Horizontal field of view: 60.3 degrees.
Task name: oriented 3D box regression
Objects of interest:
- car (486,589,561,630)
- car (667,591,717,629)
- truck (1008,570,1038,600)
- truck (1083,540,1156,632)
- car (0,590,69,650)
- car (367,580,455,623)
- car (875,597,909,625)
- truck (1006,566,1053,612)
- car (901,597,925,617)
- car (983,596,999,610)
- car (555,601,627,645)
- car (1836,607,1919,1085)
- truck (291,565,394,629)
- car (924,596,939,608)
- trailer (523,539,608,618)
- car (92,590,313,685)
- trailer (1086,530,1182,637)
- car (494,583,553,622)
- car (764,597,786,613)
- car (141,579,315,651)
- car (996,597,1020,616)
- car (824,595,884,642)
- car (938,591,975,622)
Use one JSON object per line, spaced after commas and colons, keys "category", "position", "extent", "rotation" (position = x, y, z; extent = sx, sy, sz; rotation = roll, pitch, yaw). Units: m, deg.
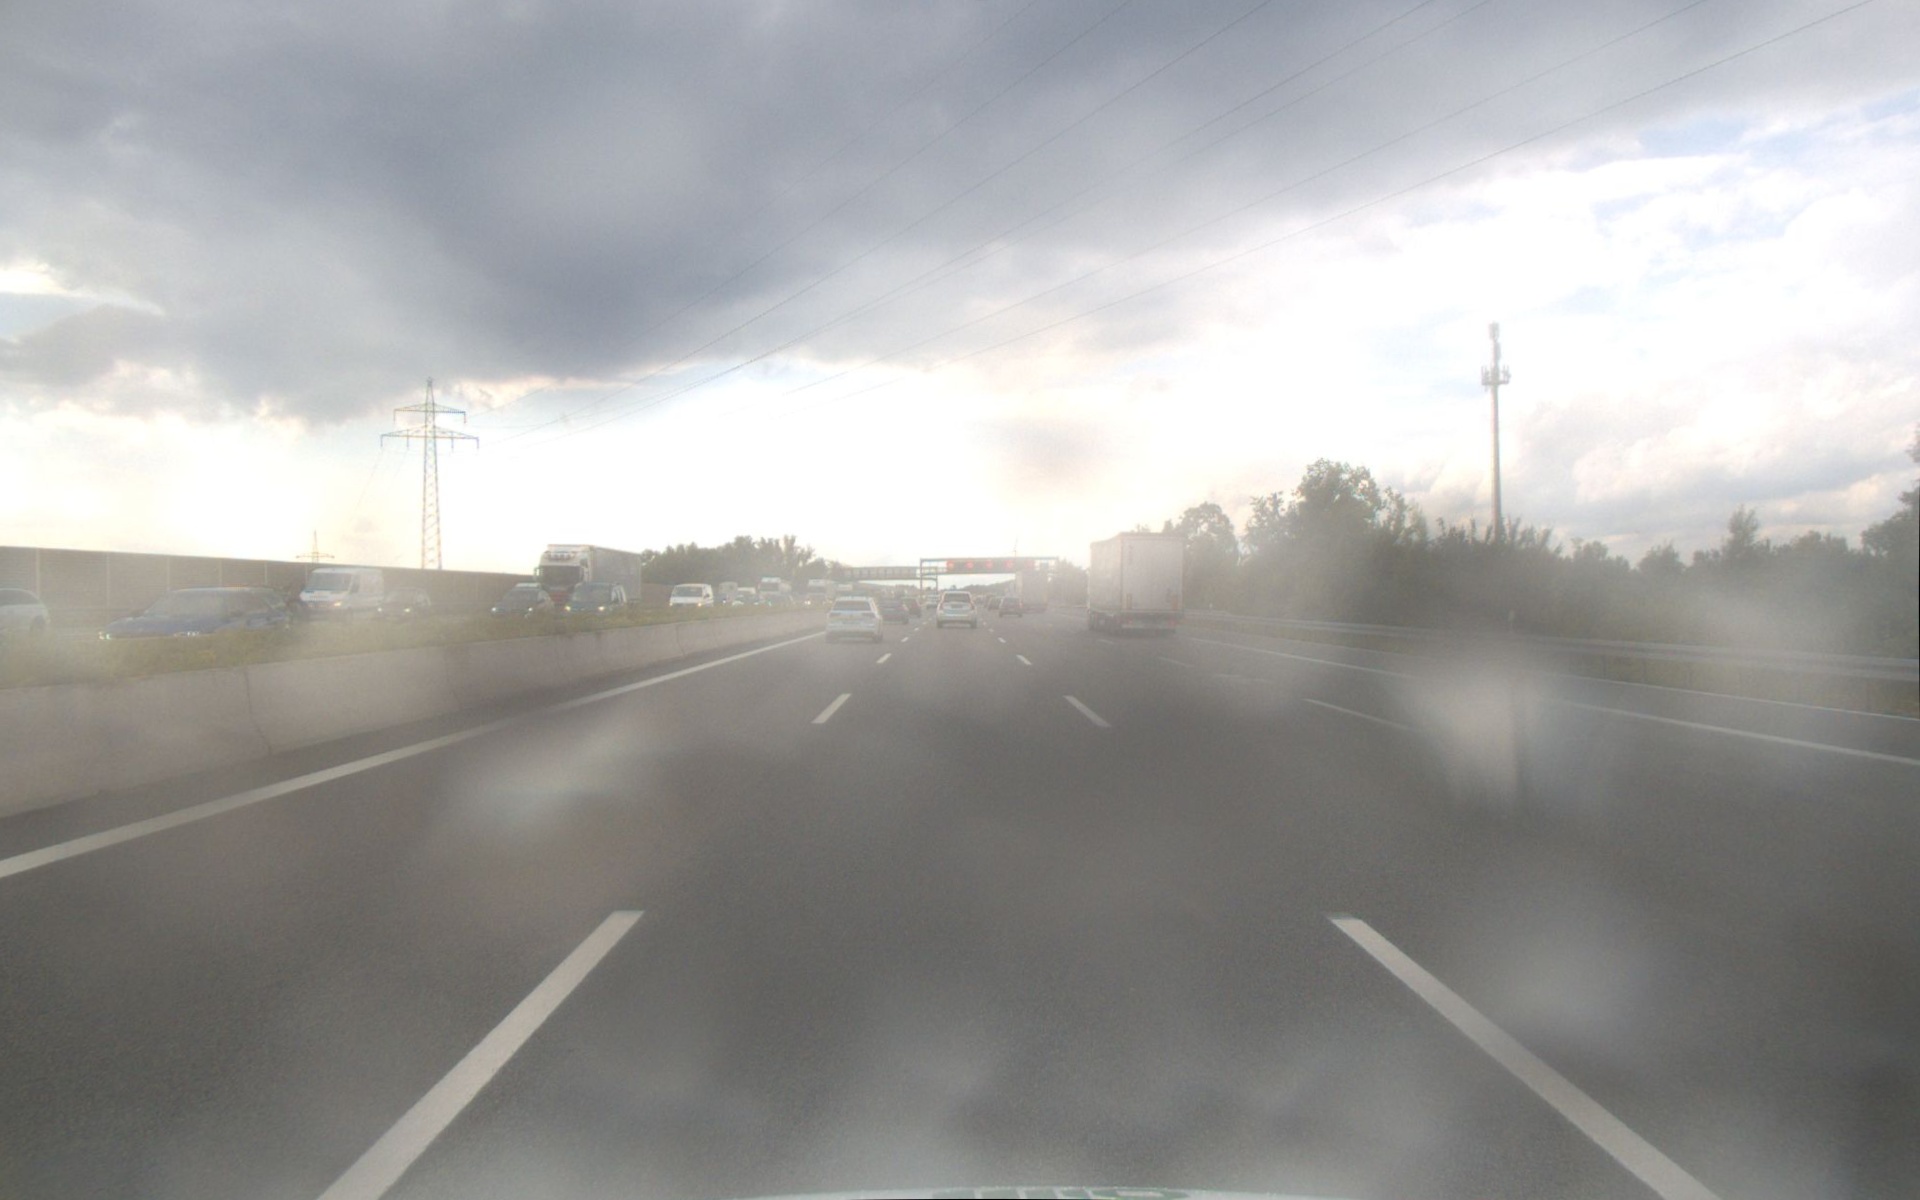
{"category": "car", "position": [-17.669, 0.359, 67.130], "extent": [1.729, 1.563, 5.159], "rotation": [1, 0, -1]}
{"category": "car", "position": [-14.291, 0.510, 88.438], "extent": [1.883, 1.933, 5.159], "rotation": [1, 0, -1]}
{"category": "truck", "position": [9.185, -2.115, 242.791], "extent": [4.156, 4.249, 11.990], "rotation": [1, 0, 1]}
{"category": "truck", "position": [7.357, -0.625, 76.985], "extent": [2.900, 4.090, 6.589], "rotation": [0, 0, 1]}
{"category": "car", "position": [-25.307, 0.489, 42.826], "extent": [1.729, 1.522, 5.159], "rotation": [1, 0, -1]}
{"category": "car", "position": [-21.115, 0.075, 63.856], "extent": [1.729, 1.563, 5.159], "rotation": [1, 0, -1]}
{"category": "car", "position": [-3.677, 0.561, 89.830], "extent": [1.736, 1.466, 4.054], "rotation": [0, 0, -1]}
{"category": "truck", "position": [6.848, -1.024, 164.984], "extent": [4.094, 4.363, 12.612], "rotation": [1, 0, 0]}
{"category": "car", "position": [-3.432, 0.486, 121.198], "extent": [1.736, 1.466, 4.054], "rotation": [0, 0, -1]}
{"category": "car", "position": [3.434, 0.349, 185.478], "extent": [1.798, 1.466, 4.055], "rotation": [0, 0, 1]}
{"category": "car", "position": [-13.800, 0.823, 62.000], "extent": [1.729, 1.563, 4.482], "rotation": [1, 0, -1]}
{"category": "car", "position": [3.682, 0.766, 3.998], "extent": [1.417, 1.466, 3.163], "rotation": [0, 0, -1]}
{"category": "truck", "position": [-25.331, -0.115, 68.077], "extent": [2.073, 2.459, 5.795], "rotation": [1, 0, -1]}
{"category": "car", "position": [-3.409, 0.218, 197.891], "extent": [1.736, 1.466, 4.055], "rotation": [0, 0, 1]}
{"category": "trailer", "position": [-21.541, -1.138, 90.666], "extent": [3.252, 4.114, 6.077], "rotation": [1, 0, -1]}
{"category": "car", "position": [-13.776, 0.632, 30.453], "extent": [1.729, 1.563, 5.159], "rotation": [1, 0, -1]}
{"category": "trailer", "position": [7.220, -0.642, 70.587], "extent": [2.900, 4.090, 14.120], "rotation": [0, 0, 1]}
{"category": "car", "position": [-26.247, 0.136, 99.627], "extent": [2.073, 2.232, 5.797], "rotation": [1, 0, -1]}
{"category": "car", "position": [-17.884, 0.519, 160.111], "extent": [1.729, 1.480, 4.233], "rotation": [1, 0, -1]}
{"category": "car", "position": [-17.567, 0.345, 40.034], "extent": [1.729, 1.576, 5.712], "rotation": [1, 0, -1]}
{"category": "car", "position": [3.715, 0.486, 127.917], "extent": [1.798, 1.466, 4.055], "rotation": [0, 0, 1]}
{"category": "car", "position": [-3.409, 0.590, 53.924], "extent": [1.736, 1.466, 3.873], "rotation": [0, 0, -1]}
{"category": "car", "position": [-0.207, 0.285, 80.601], "extent": [1.736, 1.466, 4.054], "rotation": [0, 0, -1]}
